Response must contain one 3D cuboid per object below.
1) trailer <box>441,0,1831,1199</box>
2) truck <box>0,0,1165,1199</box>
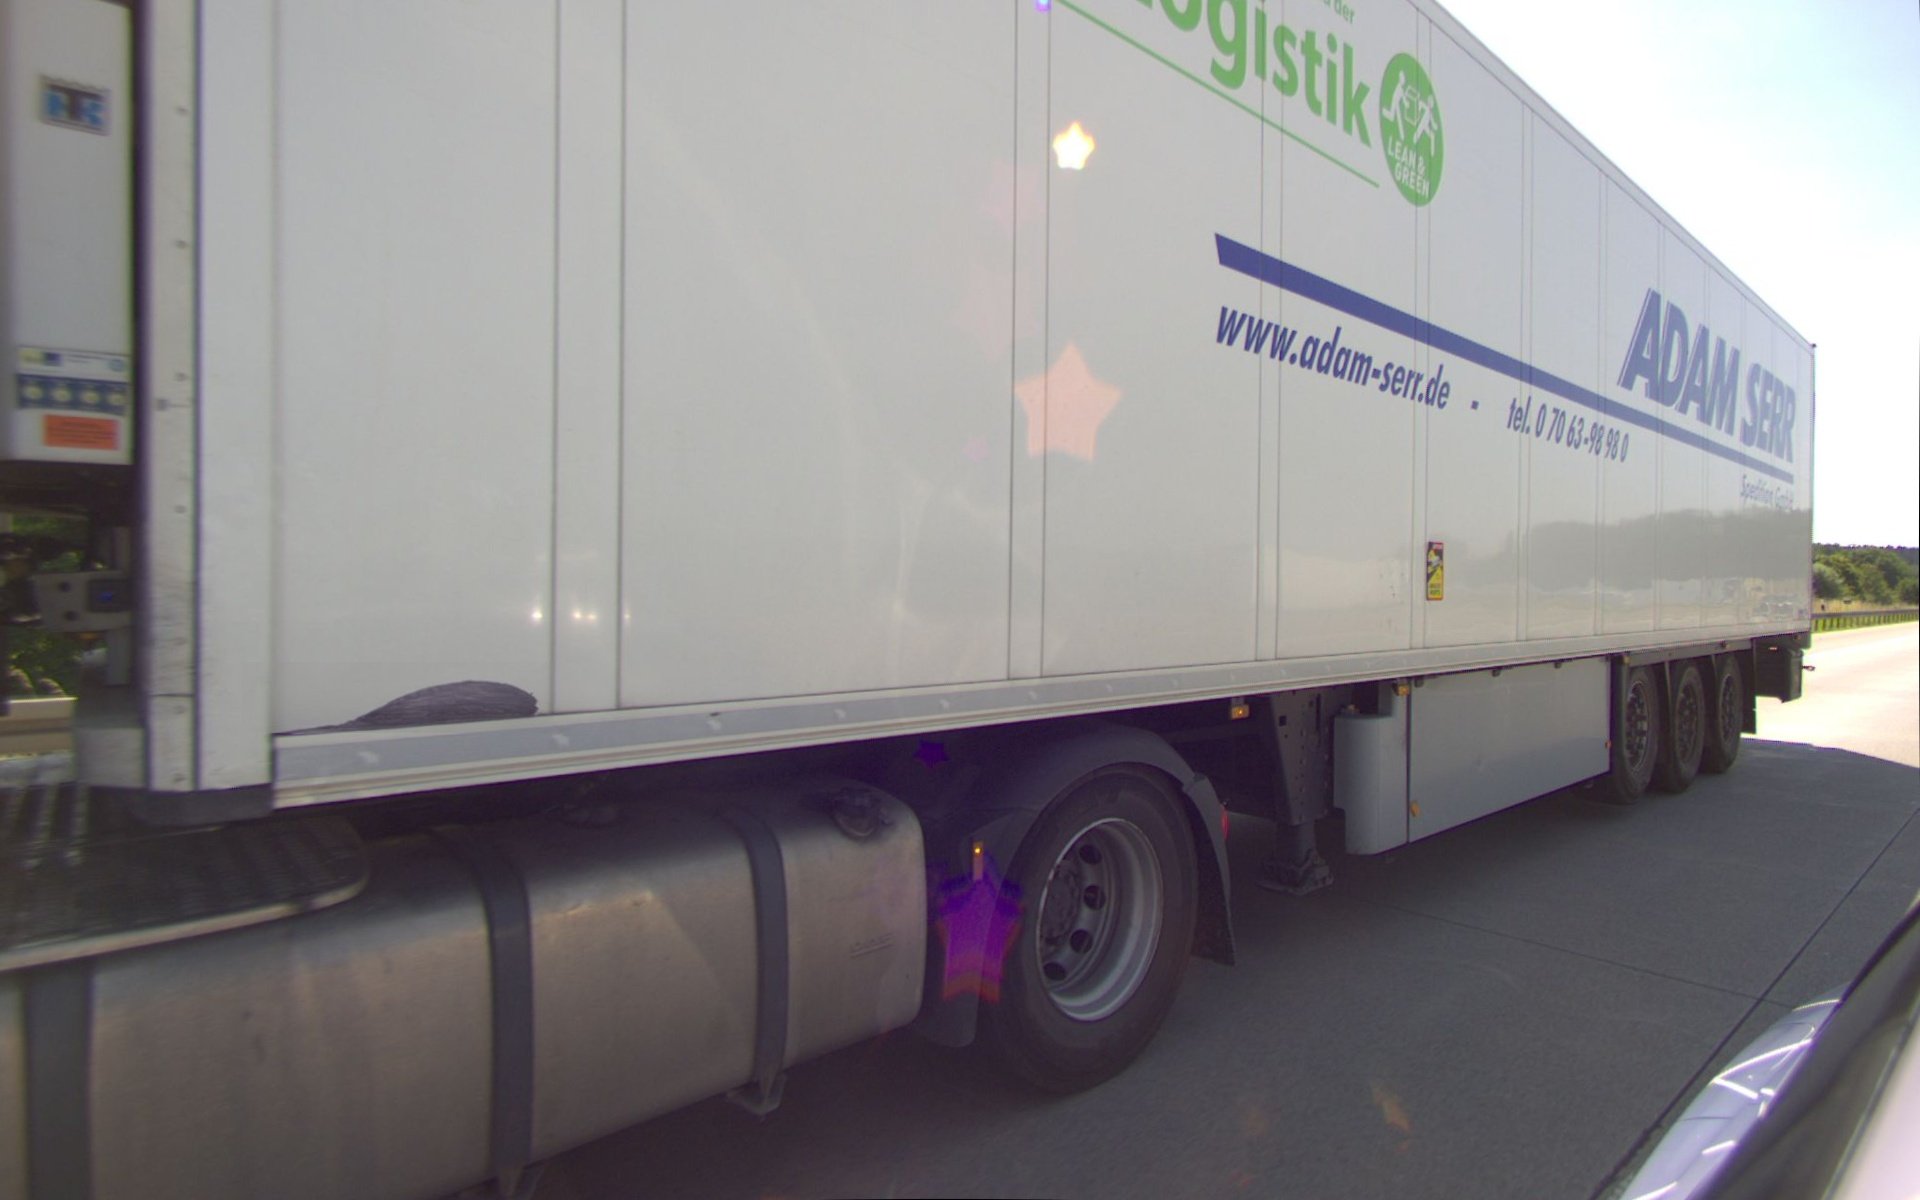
[{"bbox_3d":[3.416,-0.681,7.342,12.495,4.093,2.857,0,1,-42],"label":"trailer"},{"bbox_3d":[-2.492,-0.660,2.000,5.697,4.139,2.817,0,1,-41],"label":"truck"}]
